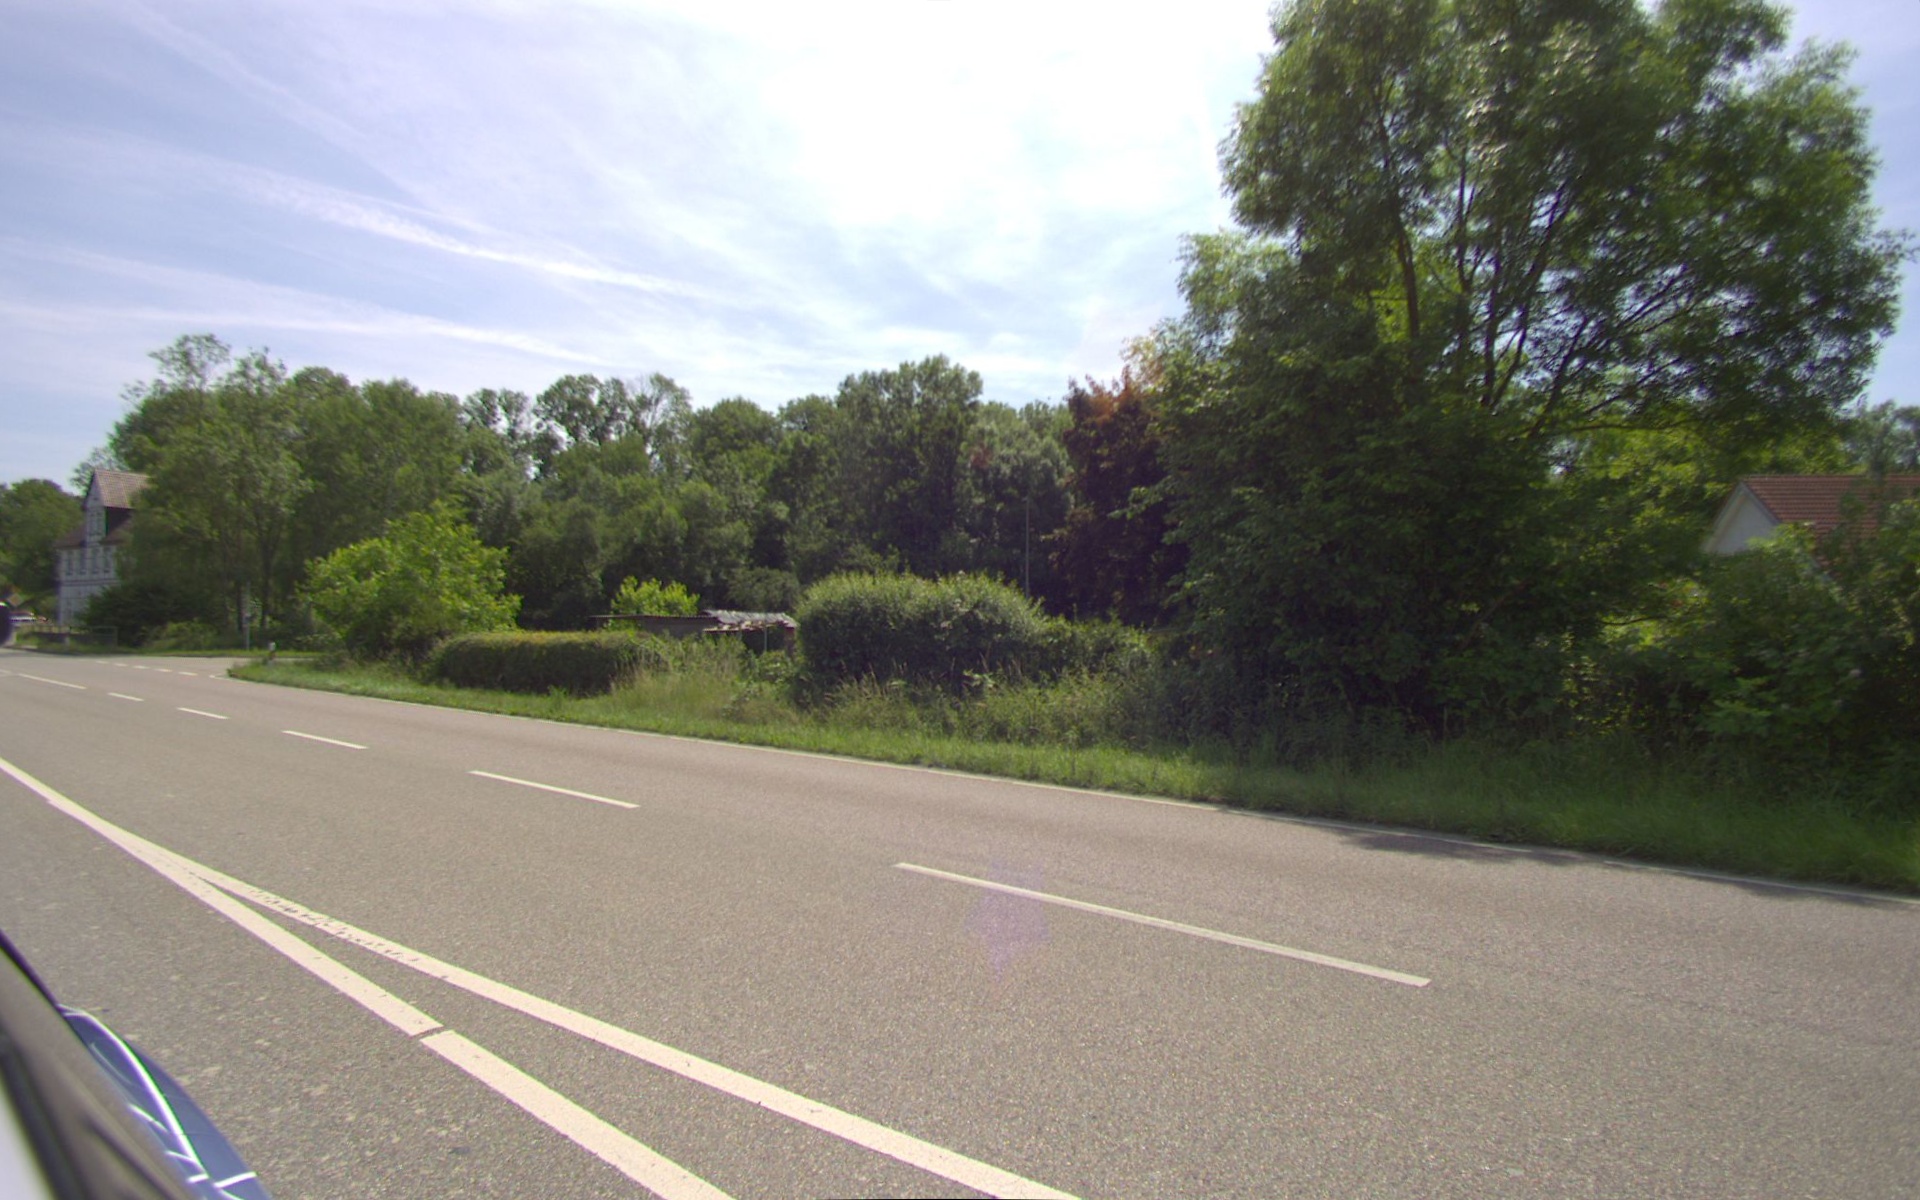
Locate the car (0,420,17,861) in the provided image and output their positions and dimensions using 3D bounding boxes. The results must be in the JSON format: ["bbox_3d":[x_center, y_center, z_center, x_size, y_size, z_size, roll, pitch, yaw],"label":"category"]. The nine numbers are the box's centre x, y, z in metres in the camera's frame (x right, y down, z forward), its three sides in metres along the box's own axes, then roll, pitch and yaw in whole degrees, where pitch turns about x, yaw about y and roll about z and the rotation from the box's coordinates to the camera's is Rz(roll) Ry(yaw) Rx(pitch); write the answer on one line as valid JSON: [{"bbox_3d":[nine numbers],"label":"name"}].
[{"bbox_3d":[-8.613,0.297,7.253,5.674,2.691,1.937,-1,-1,39],"label":"car"}]

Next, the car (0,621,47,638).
[{"bbox_3d":[-89.171,2.776,96.081,1.605,1.476,3.350,0,0,32],"label":"car"}]

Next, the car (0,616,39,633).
[{"bbox_3d":[-96.510,2.473,102.978,1.831,1.631,3.987,1,0,39],"label":"car"}]
